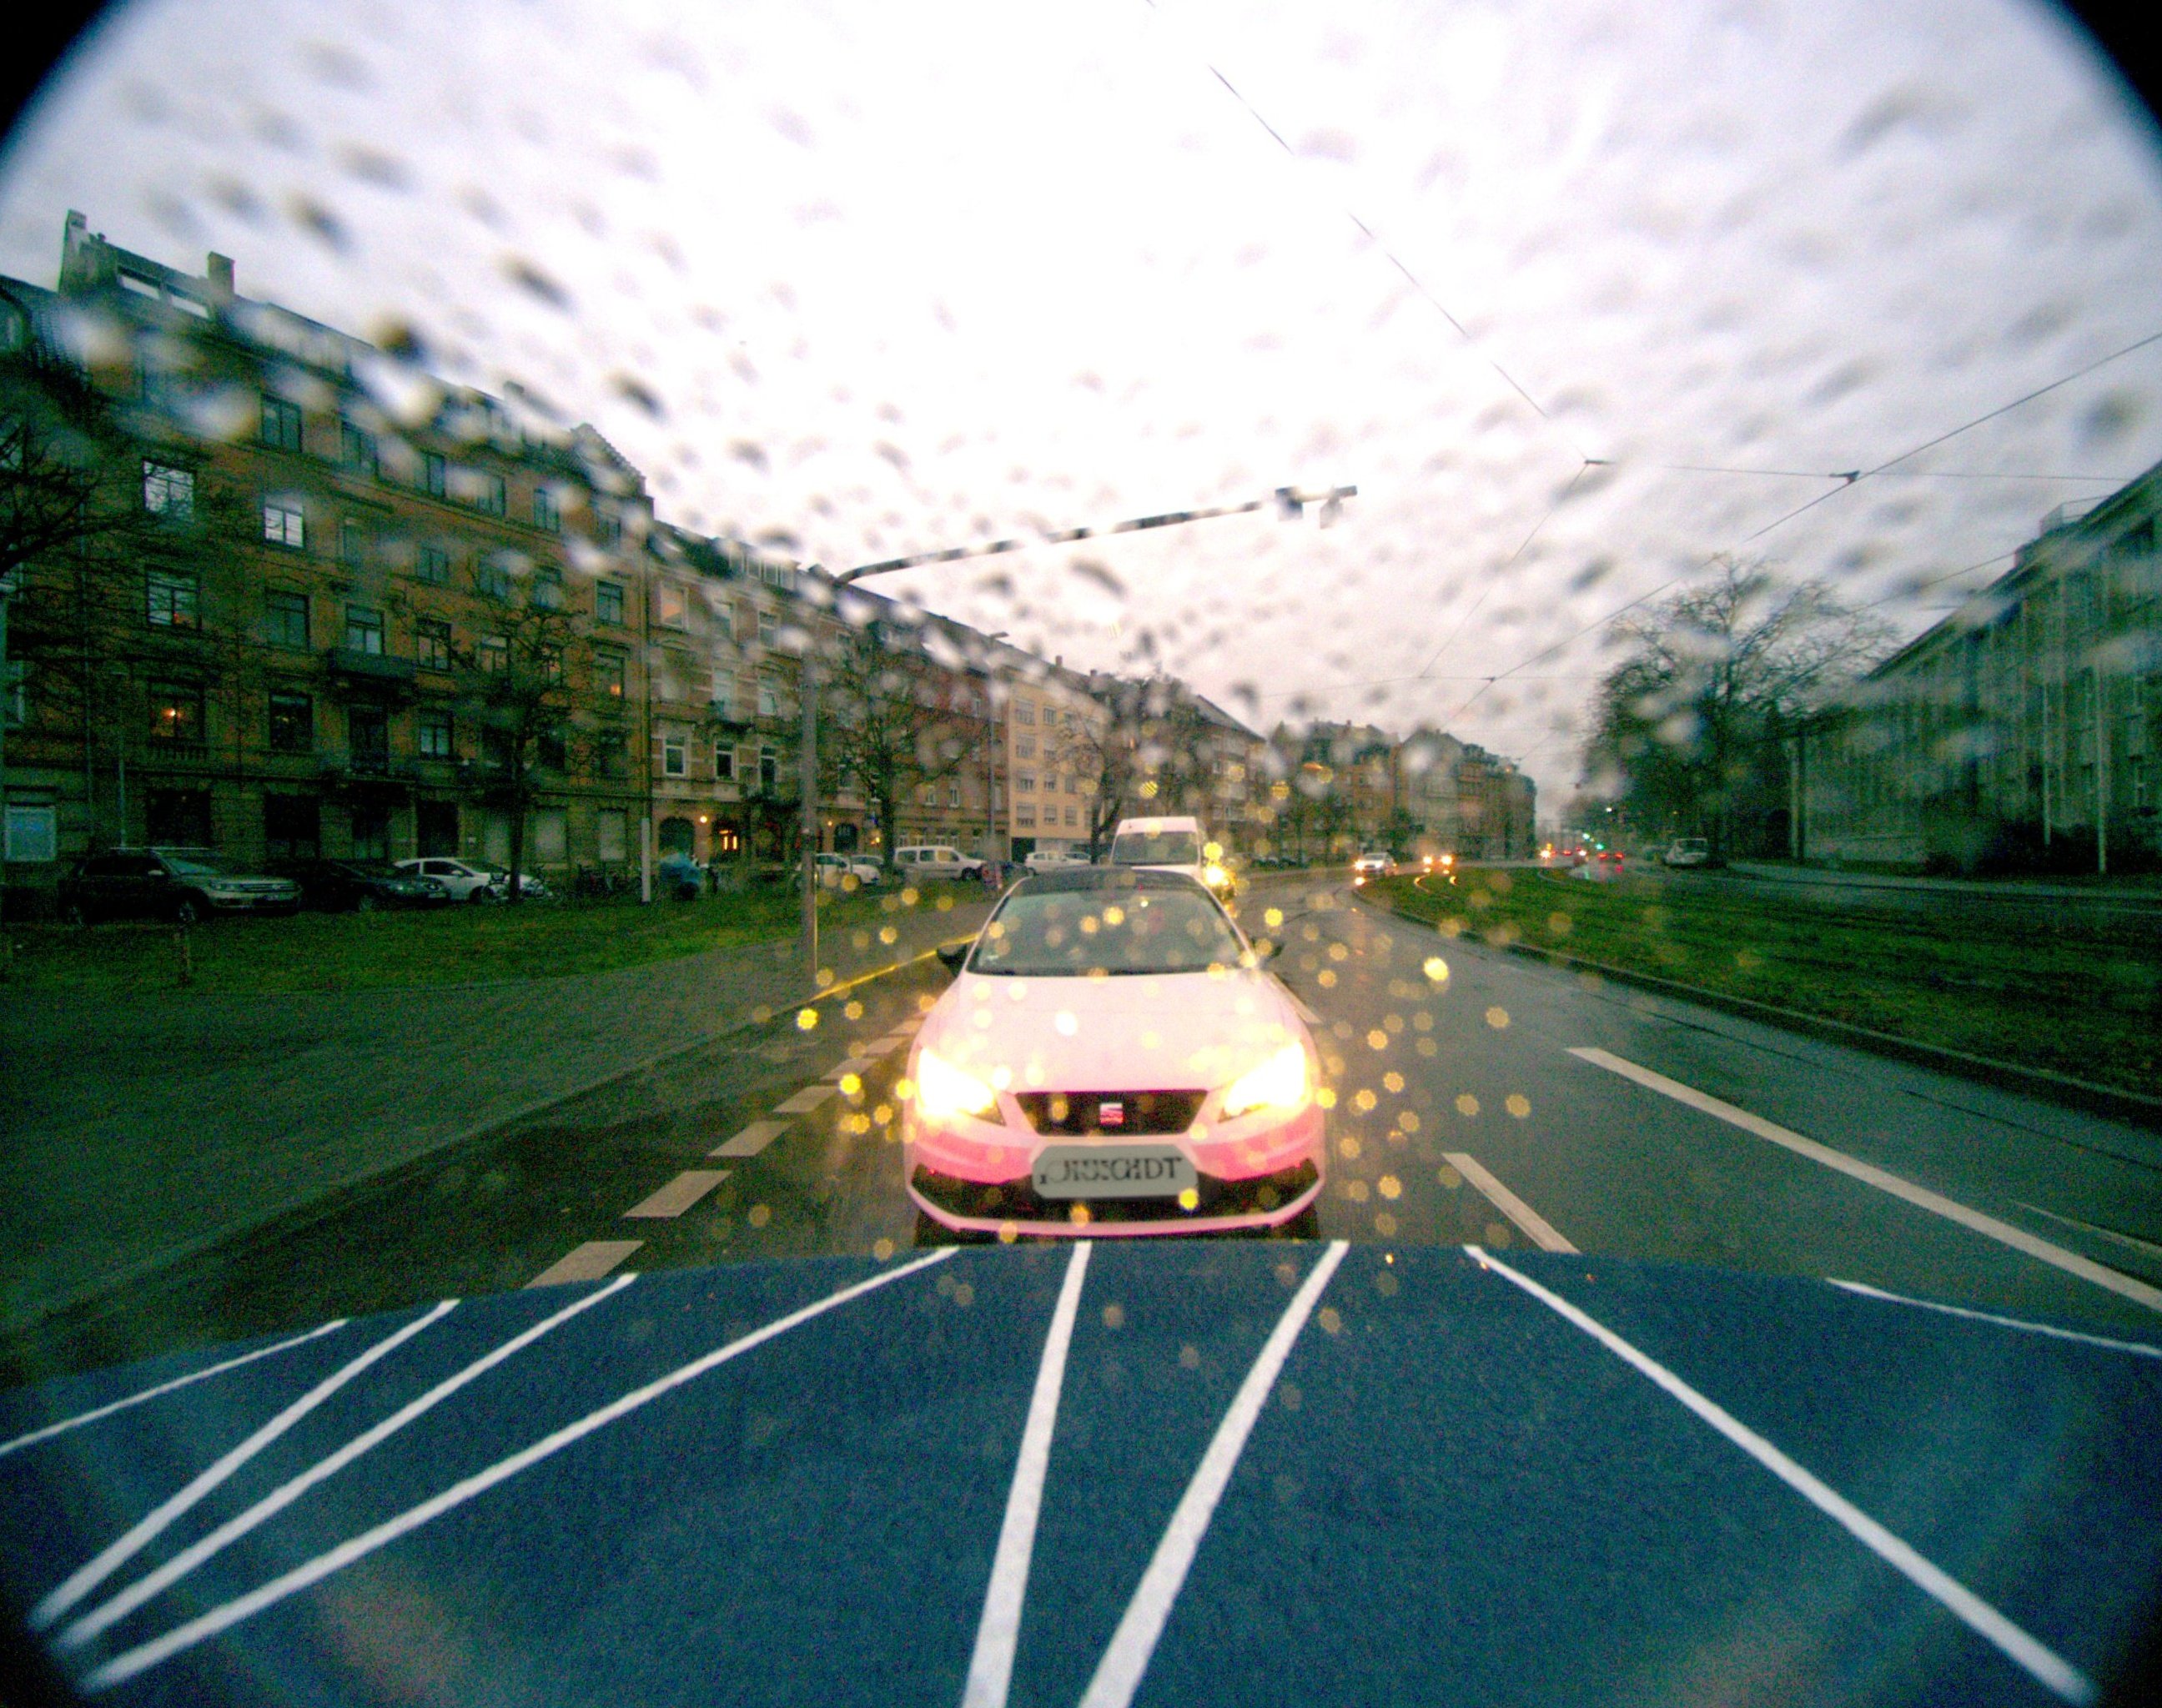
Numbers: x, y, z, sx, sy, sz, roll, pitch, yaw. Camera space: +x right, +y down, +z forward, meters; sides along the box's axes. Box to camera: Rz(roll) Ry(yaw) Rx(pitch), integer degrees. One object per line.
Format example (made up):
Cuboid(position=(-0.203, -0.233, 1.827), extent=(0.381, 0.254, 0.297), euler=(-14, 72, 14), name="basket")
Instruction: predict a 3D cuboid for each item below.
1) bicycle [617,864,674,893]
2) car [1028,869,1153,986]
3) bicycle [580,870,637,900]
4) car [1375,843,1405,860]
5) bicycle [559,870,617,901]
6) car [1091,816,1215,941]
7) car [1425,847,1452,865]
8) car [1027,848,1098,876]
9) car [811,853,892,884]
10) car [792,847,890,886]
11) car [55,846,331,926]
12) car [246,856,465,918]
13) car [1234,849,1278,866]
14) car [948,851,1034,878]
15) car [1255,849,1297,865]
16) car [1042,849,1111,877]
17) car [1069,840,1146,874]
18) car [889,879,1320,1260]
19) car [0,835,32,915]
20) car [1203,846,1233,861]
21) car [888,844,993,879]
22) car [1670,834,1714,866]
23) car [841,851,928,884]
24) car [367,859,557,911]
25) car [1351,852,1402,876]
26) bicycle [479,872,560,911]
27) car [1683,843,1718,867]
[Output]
Cuboid(position=(-15.075, 0.843, 26.280), extent=(2.165, 0.960, 0.627), euler=(0, 1, 28), name="bicycle")
Cuboid(position=(0.226, 0.973, 11.279), extent=(1.589, 1.418, 3.135), euler=(-1, 0, 4), name="car")
Cuboid(position=(-15.871, 1.055, 25.518), extent=(2.165, 0.960, 0.627), euler=(-2, -2, 28), name="bicycle")
Cuboid(position=(29.642, -0.264, 72.763), extent=(1.718, 1.608, 3.947), euler=(-1, 0, 37), name="car")
Cuboid(position=(-16.206, 1.046, 24.941), extent=(2.165, 0.960, 0.627), euler=(-2, -2, 28), name="bicycle")
Cuboid(position=(1.868, 0.476, 17.417), extent=(2.127, 2.366, 5.643), euler=(-2, 0, 12), name="car")
Cuboid(position=(29.701, 0.134, 63.097), extent=(1.836, 1.477, 3.528), euler=(-1, 0, 28), name="car")
Cuboid(position=(-1.038, 0.458, 43.697), extent=(3.770, 1.424, 1.762), euler=(-3, 0, 9), name="car")
Cuboid(position=(-12.622, 0.778, 41.965), extent=(1.733, 1.492, 4.058), euler=(-3, -1, 32), name="car")
Cuboid(position=(-9.966, 0.507, 31.708), extent=(3.462, 1.435, 1.615), euler=(-2, 0, 6), name="car")
Cuboid(position=(-19.517, 0.660, 16.837), extent=(3.996, 1.627, 1.944), euler=(0, 1, 4), name="car")
Cuboid(position=(-17.932, 0.792, 18.906), extent=(3.742, 1.346, 1.677), euler=(-2, -1, -2), name="car")
Cuboid(position=(15.901, 0.300, 69.170), extent=(3.760, 1.346, 1.603), euler=(-3, 0, 11), name="car")
Cuboid(position=(-4.541, 0.522, 38.758), extent=(4.058, 1.227, 1.771), euler=(1, 0, 6), name="car")
Cuboid(position=(18.535, 0.246, 72.295), extent=(3.760, 1.346, 1.603), euler=(-3, 0, 11), name="car")
Cuboid(position=(-0.277, 0.526, 45.802), extent=(3.998, 1.406, 1.641), euler=(-3, 0, -2), name="car")
Cuboid(position=(1.671, 0.214, 48.576), extent=(4.720, 1.971, 1.799), euler=(-2, 0, -2), name="car")
Cuboid(position=(0.181, 0.963, 4.987), extent=(1.714, 1.404, 3.680), euler=(-3, 0, 3), name="car")
Cuboid(position=(-29.072, 0.533, 17.874), extent=(1.994, 2.002, 4.997), euler=(1, 1, 33), name="car")
Cuboid(position=(14.511, -0.060, 80.488), extent=(1.470, 1.534, 3.880), euler=(0, 1, 38), name="car")
Cuboid(position=(-6.715, 0.347, 36.523), extent=(4.659, 1.583, 1.778), euler=(1, 1, 3), name="car")
Cuboid(position=(41.888, -0.310, 52.177), extent=(1.995, 2.002, 4.518), euler=(-3, 0, 35), name="car")
Cuboid(position=(-8.794, 0.591, 34.196), extent=(3.430, 1.343, 1.664), euler=(-2, 0, 2), name="car")
Cuboid(position=(-17.148, 0.831, 21.197), extent=(3.856, 1.329, 1.698), euler=(-1, 0, -1), name="car")
Cuboid(position=(18.163, 0.588, 46.603), extent=(1.892, 1.405, 3.955), euler=(0, 0, 37), name="car")
Cuboid(position=(-14.422, 0.943, 19.573), extent=(1.655, 0.931, 0.513), euler=(0, 0, -35), name="bicycle")
Cuboid(position=(39.431, 0.064, 48.396), extent=(1.557, 1.420, 2.960), euler=(-1, 1, 36), name="car")
